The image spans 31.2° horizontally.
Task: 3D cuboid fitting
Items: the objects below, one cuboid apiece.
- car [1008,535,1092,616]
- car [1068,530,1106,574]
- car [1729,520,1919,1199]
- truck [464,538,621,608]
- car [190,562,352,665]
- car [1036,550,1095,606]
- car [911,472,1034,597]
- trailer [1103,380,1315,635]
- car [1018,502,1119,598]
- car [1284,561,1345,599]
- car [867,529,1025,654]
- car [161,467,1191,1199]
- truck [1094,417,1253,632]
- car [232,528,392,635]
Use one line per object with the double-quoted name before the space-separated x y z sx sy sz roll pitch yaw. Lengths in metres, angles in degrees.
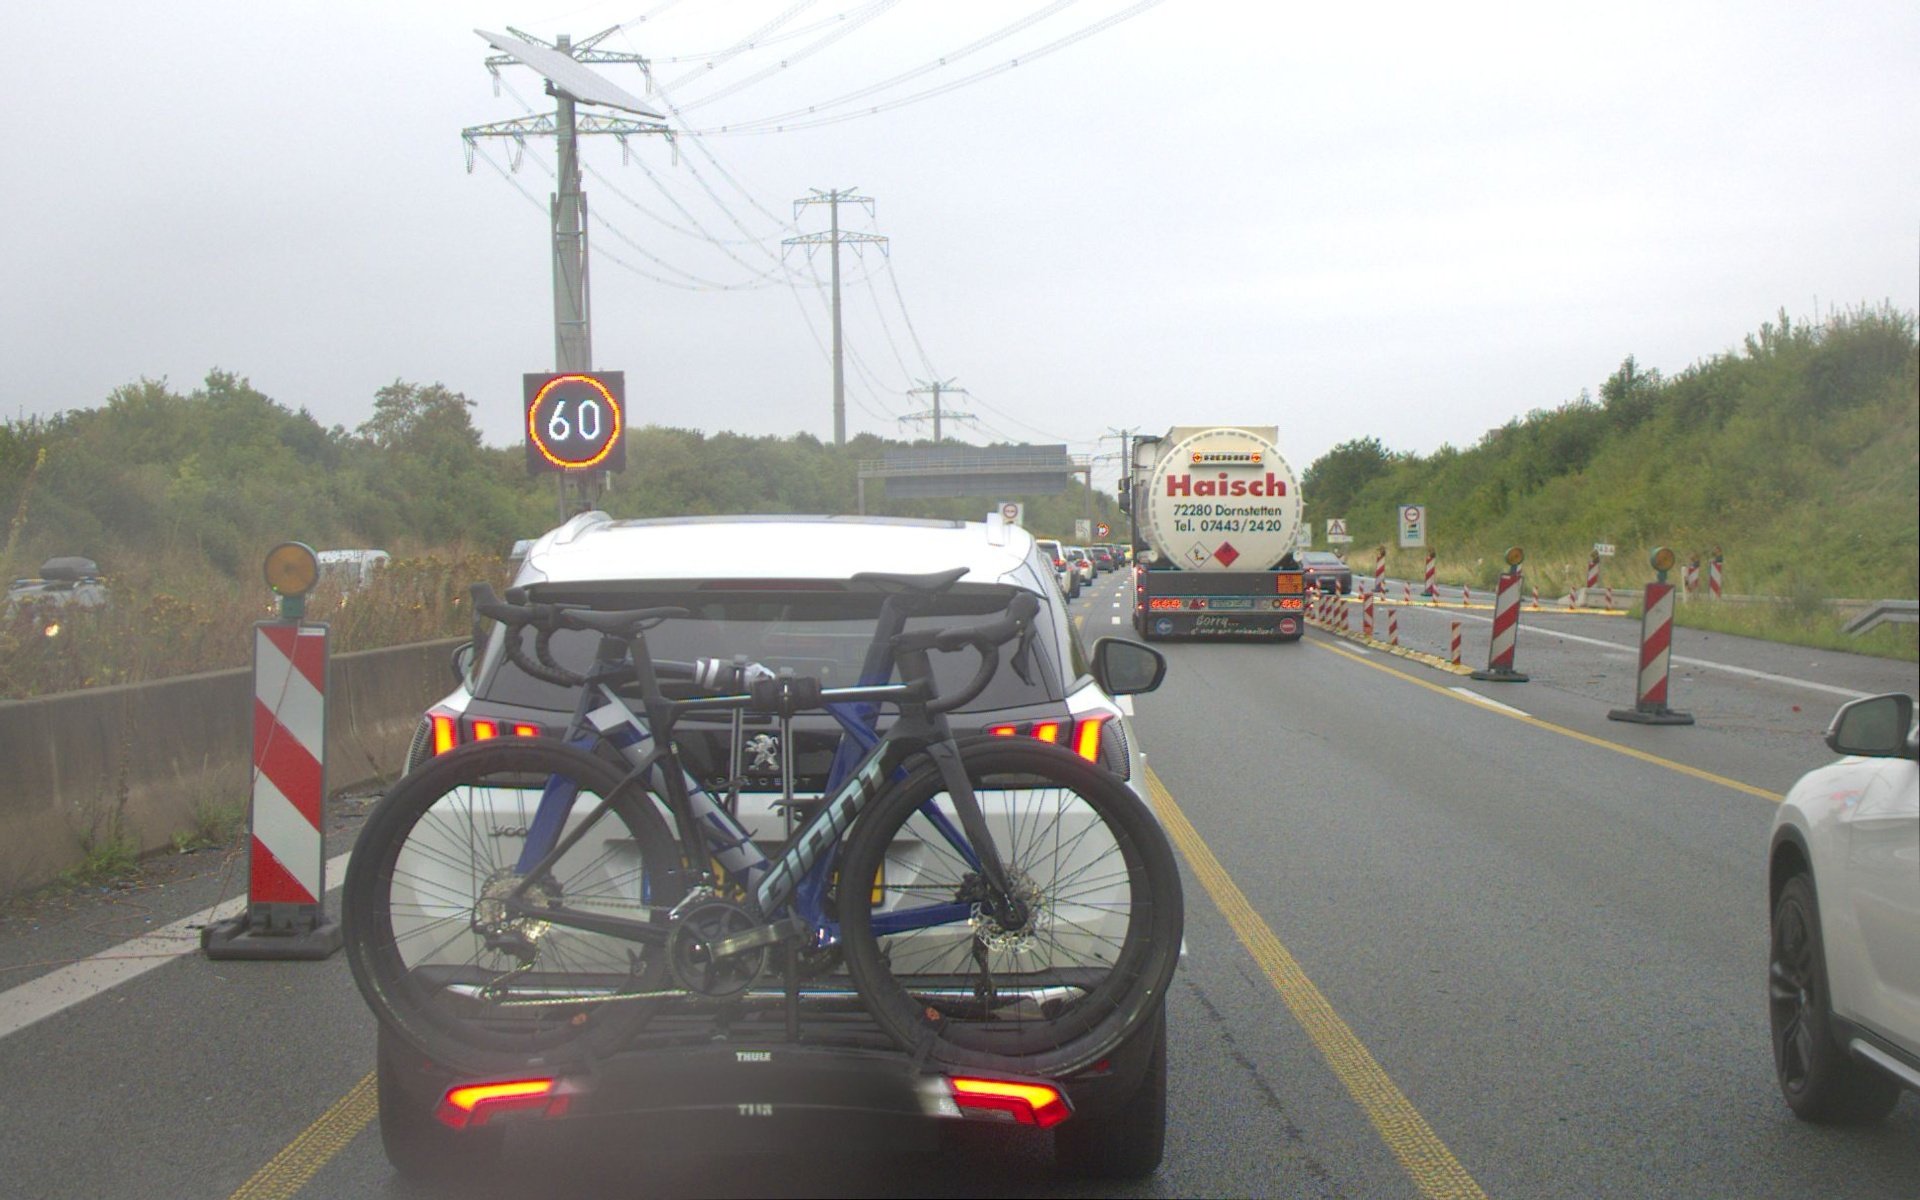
"car" 2.297 -0.633 88.610 1.993 2.007 4.000 1 0 -1
"car" 5.871 -2.200 158.518 1.654 2.007 4.000 0 1 3
"car" 3.019 0.593 7.259 1.870 1.529 4.197 0 1 0
"truck" -15.479 -1.029 127.850 1.997 2.419 6.421 0 2 35
"car" -12.025 0.215 60.239 1.868 1.644 4.000 -1 1 2
"car" 3.909 -0.827 128.063 1.993 2.007 4.000 1 0 -1
"car" 0.186 -1.123 58.824 1.993 2.007 4.000 -2 1 0
"trailer" 4.044 -1.457 58.121 2.637 3.880 10.544 1 0 -1
"car" 2.361 -1.116 75.708 1.993 2.007 4.000 -1 1 -1
"car" 11.218 -0.643 108.988 1.482 1.157 3.907 -1 0 -1
"car" -0.196 -0.143 45.439 1.993 1.578 4.000 0 1 -1
"car" -0.469 0.518 8.733 1.928 1.605 4.595 0 1 2
"truck" 3.977 -1.390 64.699 2.644 3.877 4.030 1 0 -1
"car" -11.293 -0.324 60.152 1.993 1.795 4.000 1 0 0
